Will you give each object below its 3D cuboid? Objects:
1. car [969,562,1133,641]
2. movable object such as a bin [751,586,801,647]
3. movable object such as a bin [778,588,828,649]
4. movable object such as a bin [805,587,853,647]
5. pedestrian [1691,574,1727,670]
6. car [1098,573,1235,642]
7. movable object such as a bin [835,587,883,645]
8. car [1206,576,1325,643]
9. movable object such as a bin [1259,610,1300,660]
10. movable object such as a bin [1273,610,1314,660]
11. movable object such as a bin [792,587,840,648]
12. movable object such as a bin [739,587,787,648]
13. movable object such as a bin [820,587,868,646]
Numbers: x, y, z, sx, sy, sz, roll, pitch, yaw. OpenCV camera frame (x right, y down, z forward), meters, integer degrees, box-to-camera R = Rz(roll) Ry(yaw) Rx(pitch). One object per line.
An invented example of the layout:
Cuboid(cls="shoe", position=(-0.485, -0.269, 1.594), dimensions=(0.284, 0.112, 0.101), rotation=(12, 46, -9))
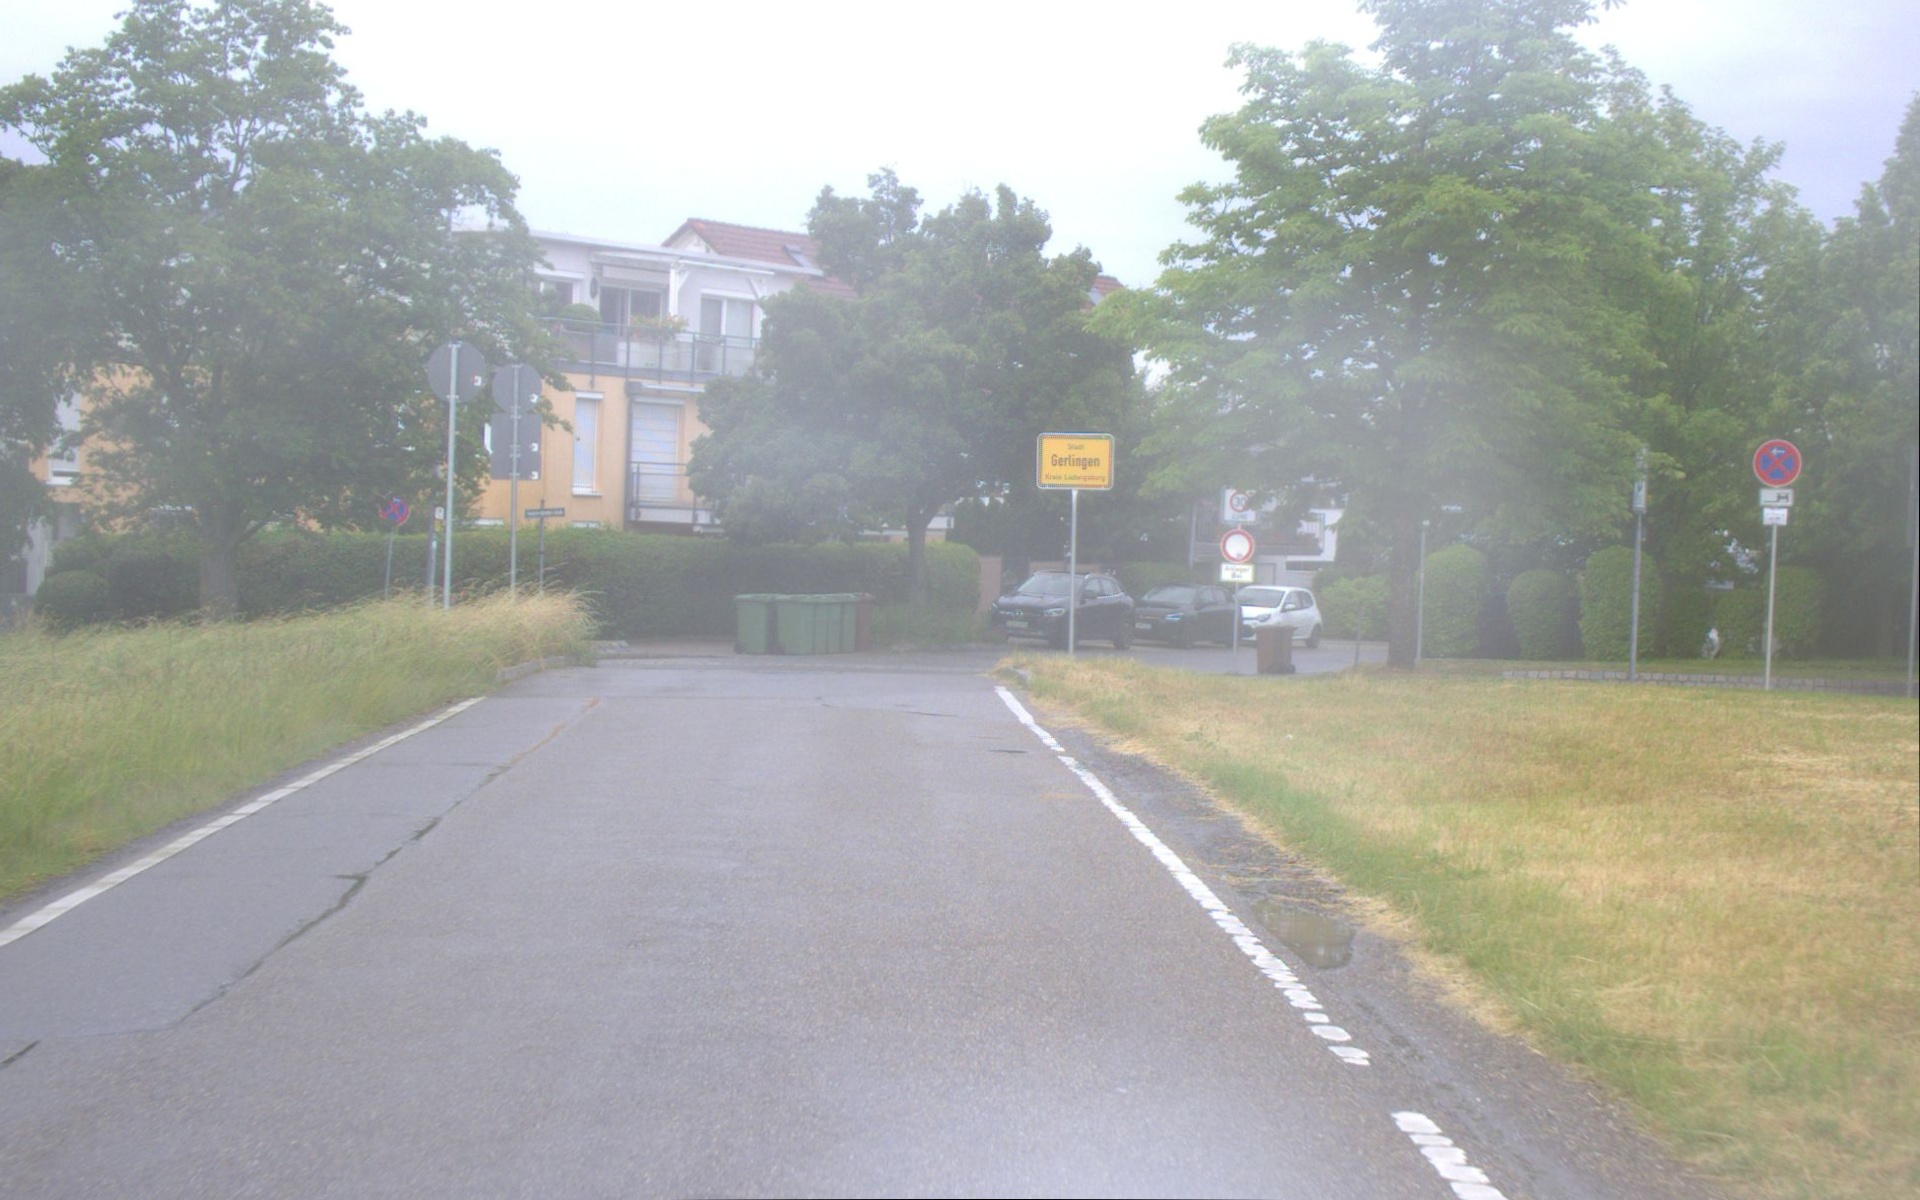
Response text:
Cuboid(cls="car", position=(1.958, 0.052, 72.681), dimensions=(1.778, 1.513, 4.131), rotation=(4, 1, 27))
Cuboid(cls="movable object such as a bin", position=(-3.312, 0.291, 61.892), dimensions=(0.695, 1.069, 0.597), rotation=(1, 1, 19))
Cuboid(cls="movable object such as a bin", position=(-2.787, 0.324, 61.111), dimensions=(0.695, 1.071, 0.601), rotation=(1, 1, 19))
Cuboid(cls="movable object such as a bin", position=(-2.376, 0.308, 62.282), dimensions=(0.695, 1.063, 0.578), rotation=(1, 1, 19))
Cuboid(cls="pedestrian", position=(15.864, 0.462, 72.816), dimensions=(0.559, 2.007, 0.523), rotation=(1, 1, 33))
Cuboid(cls="car", position=(4.699, 0.183, 77.829), dimensions=(1.638, 1.404, 3.599), rotation=(4, 1, 28))
Cuboid(cls="movable object such as a bin", position=(-1.859, 0.294, 63.534), dimensions=(0.695, 1.051, 0.605), rotation=(1, 1, 19))
Cuboid(cls="car", position=(7.333, 0.228, 82.300), dimensions=(1.513, 1.471, 3.268), rotation=(4, 1, 30))
Cuboid(cls="movable object such as a bin", position=(6.033, 0.660, 64.944), dimensions=(0.571, 0.928, 0.529), rotation=(2, 0, 32))
Cuboid(cls="movable object such as a bin", position=(6.346, 0.670, 65.443), dimensions=(0.571, 0.928, 0.529), rotation=(2, 0, 32))
Cuboid(cls="movable object such as a bin", position=(-2.581, 0.317, 61.695), dimensions=(0.695, 1.071, 0.543), rotation=(1, 1, 19))
Cuboid(cls="movable object such as a bin", position=(-3.510, 0.304, 61.322), dimensions=(0.666, 1.070, 0.543), rotation=(1, 1, 20))
Cuboid(cls="movable object such as a bin", position=(-2.119, 0.301, 62.882), dimensions=(0.695, 1.051, 0.605), rotation=(1, 1, 19))
